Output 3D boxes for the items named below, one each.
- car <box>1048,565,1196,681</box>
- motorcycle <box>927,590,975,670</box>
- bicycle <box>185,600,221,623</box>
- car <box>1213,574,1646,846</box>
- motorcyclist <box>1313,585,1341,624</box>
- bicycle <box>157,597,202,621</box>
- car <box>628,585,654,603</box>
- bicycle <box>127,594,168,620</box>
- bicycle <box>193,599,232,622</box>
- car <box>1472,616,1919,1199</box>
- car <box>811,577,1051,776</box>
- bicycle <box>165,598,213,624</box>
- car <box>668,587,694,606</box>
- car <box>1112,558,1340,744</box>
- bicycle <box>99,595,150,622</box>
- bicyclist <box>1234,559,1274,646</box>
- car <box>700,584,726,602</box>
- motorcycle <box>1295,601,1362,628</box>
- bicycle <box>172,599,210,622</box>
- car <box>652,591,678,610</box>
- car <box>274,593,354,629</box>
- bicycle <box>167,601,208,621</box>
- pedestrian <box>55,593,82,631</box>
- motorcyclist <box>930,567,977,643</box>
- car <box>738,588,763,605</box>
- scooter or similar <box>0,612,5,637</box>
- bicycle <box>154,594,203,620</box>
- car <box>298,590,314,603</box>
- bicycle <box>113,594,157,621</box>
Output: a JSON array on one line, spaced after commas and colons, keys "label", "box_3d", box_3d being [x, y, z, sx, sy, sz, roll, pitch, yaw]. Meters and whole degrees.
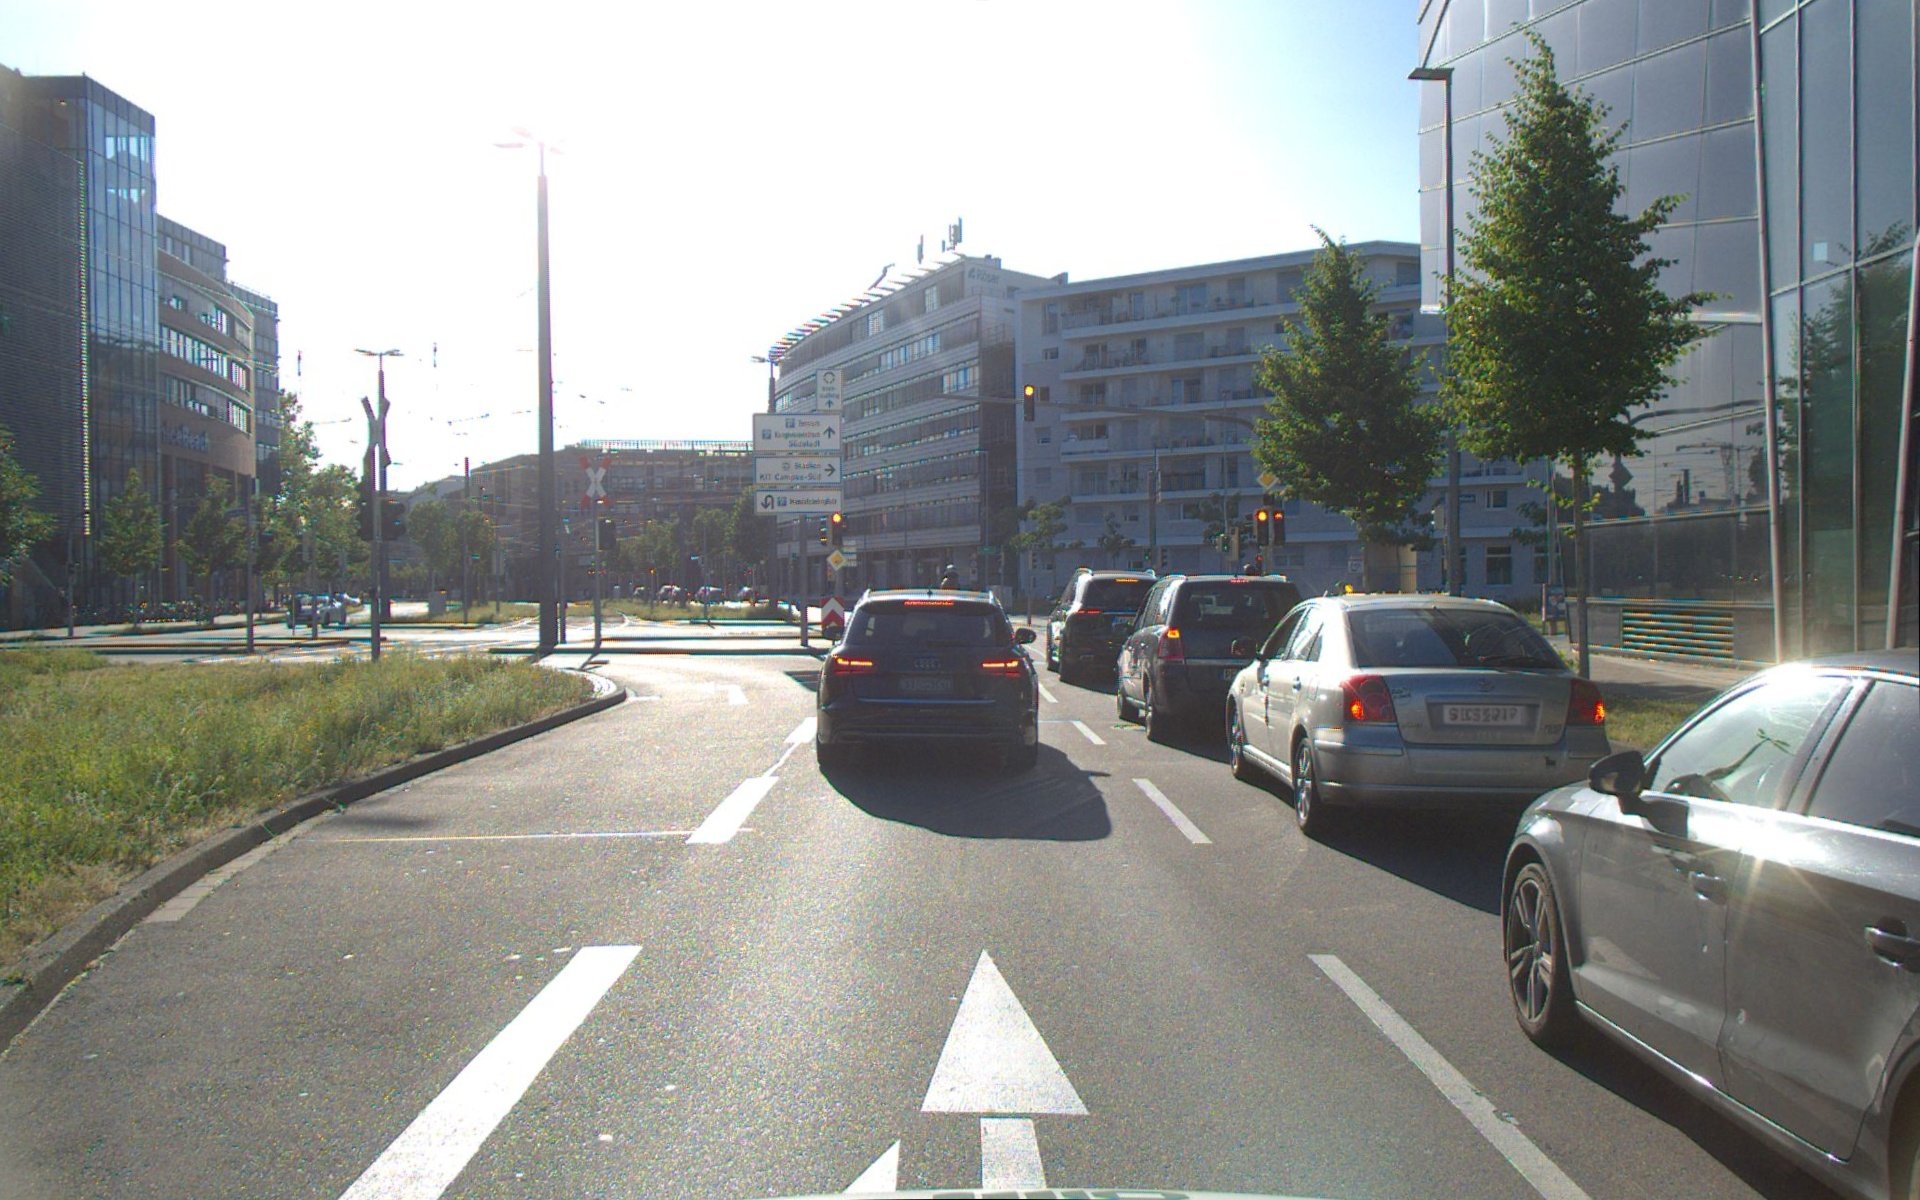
[{"label": "car", "box_3d": [2.613, 0.325, 27.668, 1.962, 1.745, 4.372, 1, 1, -1]}, {"label": "motorcycle", "box_3d": [-0.174, 0.529, 30.263, 0.845, 1.417, 1.893, 0, 0, -1]}, {"label": "bicycle", "box_3d": [-50.706, 0.750, 110.783, 2.092, 1.458, 0.759, -1, -1, 8]}, {"label": "car", "box_3d": [2.973, 0.604, 11.536, 1.710, 1.507, 4.628, 0, 0, 0]}, {"label": "motorcyclist", "box_3d": [14.356, 0.162, 64.768, 0.905, 1.507, 1.172, -1, 0, 4]}, {"label": "bicycle", "box_3d": [-50.244, 0.581, 106.474, 2.551, 1.458, 0.772, -1, -1, 8]}, {"label": "car", "box_3d": [-31.245, -0.586, 161.770, 1.963, 1.736, 3.978, -1, 0, -19]}, {"label": "bicycle", "box_3d": [-46.217, 0.403, 94.056, 1.935, 1.458, 0.807, -1, 0, 8]}, {"label": "bicycle", "box_3d": [-50.595, 0.707, 111.959, 2.369, 1.458, 0.789, -1, -1, 8]}, {"label": "car", "box_3d": [2.774, 0.786, 4.186, 1.710, 1.416, 4.265, 1, 0, 1]}, {"label": "car", "box_3d": [-0.253, 0.557, 14.611, 1.805, 1.479, 3.999, 1, 1, -1]}, {"label": "bicycle", "box_3d": [-46.661, 0.669, 100.081, 2.507, 1.458, 0.905, -1, 0, 8]}, {"label": "car", "box_3d": [-26.383, -0.327, 156.432, 1.961, 1.624, 3.983, -1, 0, -16]}, {"label": "car", "box_3d": [2.707, 0.474, 17.733, 1.710, 1.725, 4.260, 1, 0, -1]}, {"label": "bicycle", "box_3d": [-46.393, 0.458, 91.870, 2.319, 1.458, 1.077, -1, 0, 8]}, {"label": "bicyclist", "box_3d": [5.746, 0.038, 32.361, 0.640, 1.671, 0.972, 0, 1, 2]}, {"label": "car", "box_3d": [-23.041, -0.629, 154.178, 1.961, 1.624, 3.982, -1, 0, -16]}, {"label": "motorcycle", "box_3d": [14.406, 0.552, 64.773, 2.401, 1.018, 1.172, -1, 0, 4]}, {"label": "bicycle", "box_3d": [-50.572, 0.685, 108.747, 2.197, 1.458, 0.719, -1, -1, 8]}, {"label": "car", "box_3d": [-28.993, 0.046, 162.340, 1.963, 1.736, 3.978, -1, 0, -19]}, {"label": "car", "box_3d": [-29.997, 0.505, 76.928, 1.953, 1.572, 4.530, -1, 1, 0]}, {"label": "bicycle", "box_3d": [-50.419, 0.703, 107.899, 2.362, 1.257, 0.745, -1, 0, 8]}, {"label": "pedestrian", "box_3d": [-44.383, 0.583, 82.334, 0.809, 1.856, 0.905, -2, -1, 0]}, {"label": "motorcyclist", "box_3d": [-0.122, 0.089, 30.131, 0.845, 1.349, 0.681, 0, 0, -1]}, {"label": "car", "box_3d": [-21.132, -0.377, 166.738, 1.961, 1.624, 3.984, -1, 0, -15]}, {"label": "scooter or similar", "box_3d": [-44.857, 1.141, 76.735, 0.412, 1.129, 1.152, -2, -1, 0]}, {"label": "bicycle", "box_3d": [-46.238, 0.408, 97.838, 2.507, 1.458, 0.905, -1, 0, 8]}, {"label": "car", "box_3d": [-86.517, -0.482, 218.626, 1.630, 1.616, 3.328, -1, 0, -28]}, {"label": "bicycle", "box_3d": [-46.344, 0.401, 92.914, 2.039, 1.458, 0.861, -1, 0, 8]}]
